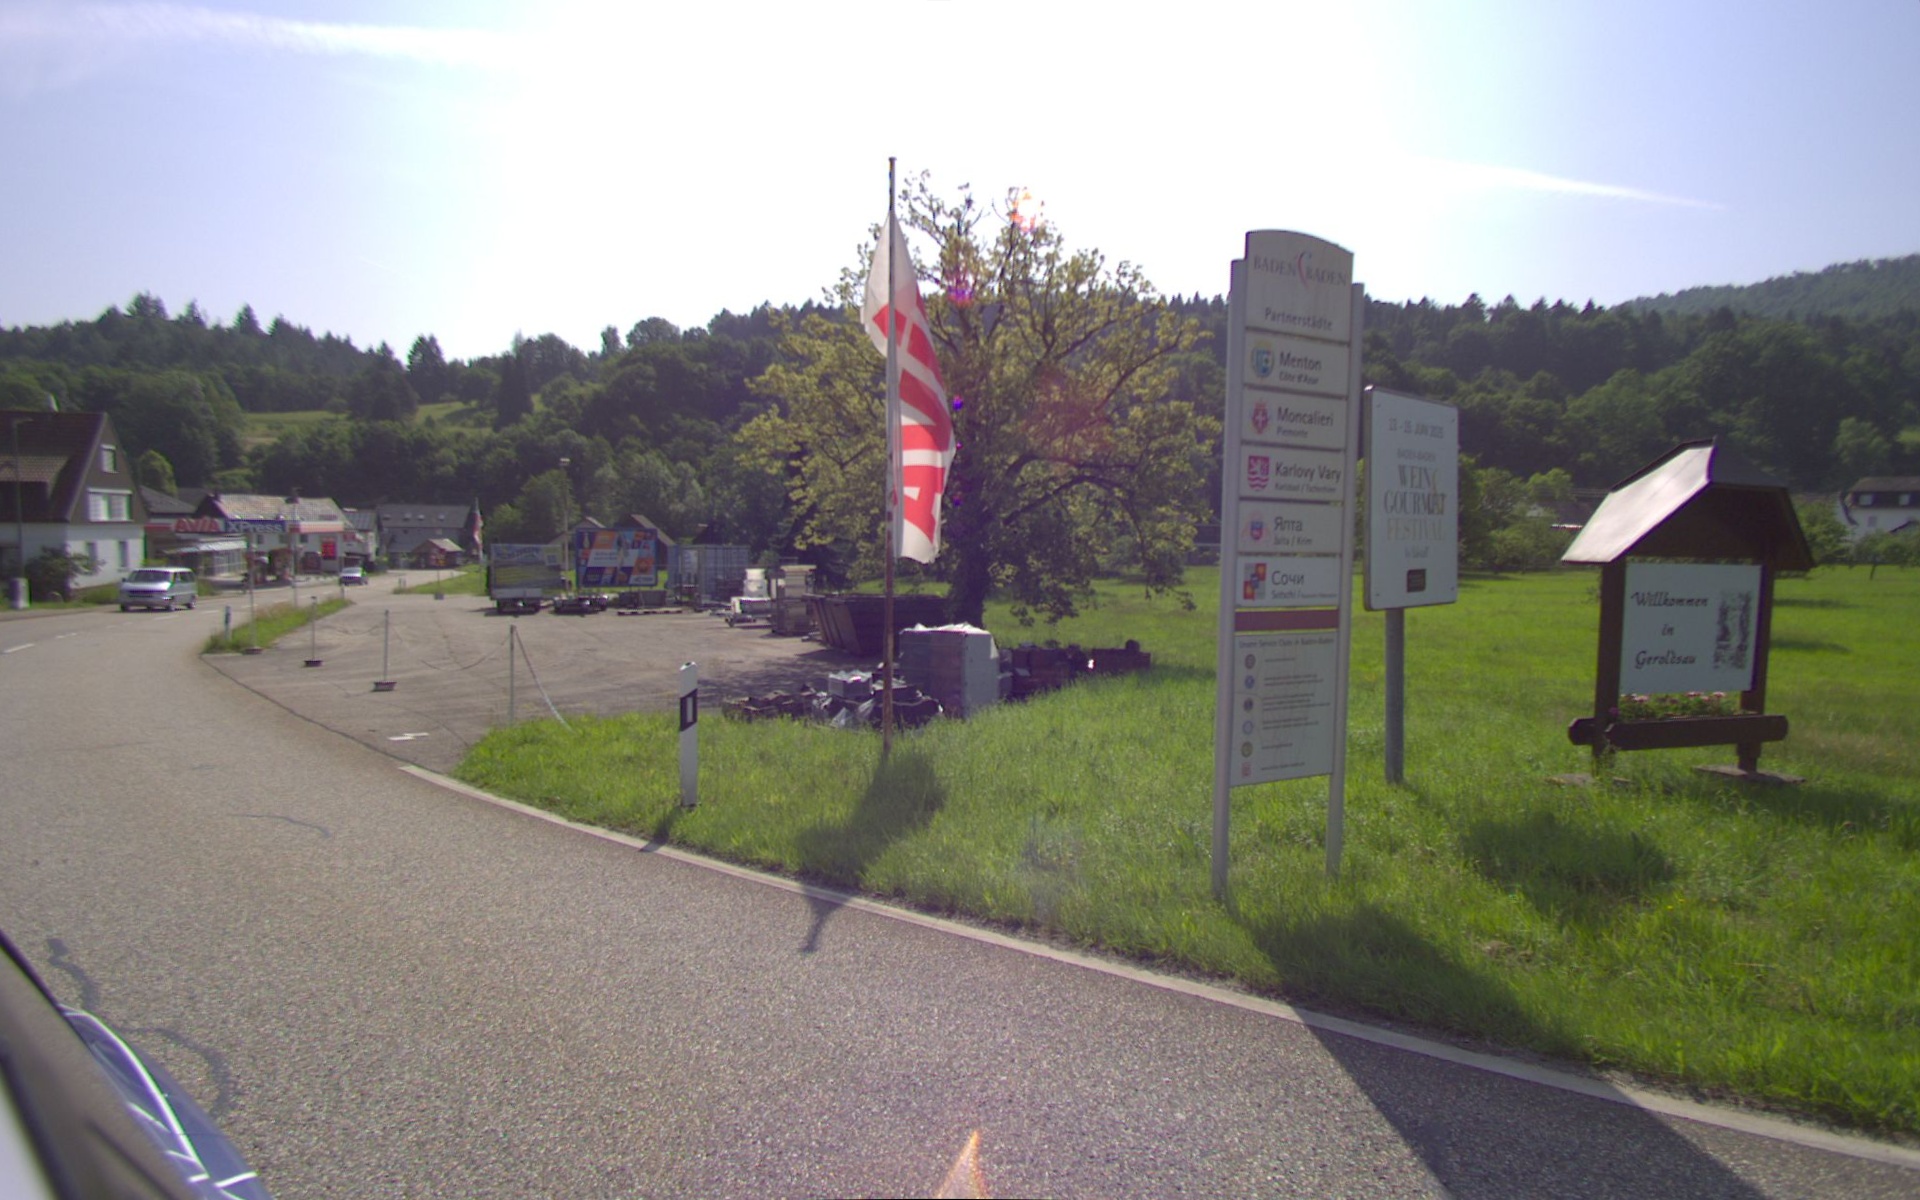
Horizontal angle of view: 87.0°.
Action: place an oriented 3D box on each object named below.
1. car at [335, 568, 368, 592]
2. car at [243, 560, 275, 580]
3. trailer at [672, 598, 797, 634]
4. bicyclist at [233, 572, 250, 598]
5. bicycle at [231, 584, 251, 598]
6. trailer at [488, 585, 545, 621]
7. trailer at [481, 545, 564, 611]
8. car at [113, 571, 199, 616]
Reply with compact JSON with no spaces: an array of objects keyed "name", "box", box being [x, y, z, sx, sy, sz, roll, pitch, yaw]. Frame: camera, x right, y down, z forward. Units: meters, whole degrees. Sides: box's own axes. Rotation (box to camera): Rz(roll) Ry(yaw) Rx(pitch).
[{"name":"car","box":[-50.472,-1.673,83.985,1.738,1.758,3.994,-2,4,-23]},{"name":"car","box":[-70.151,-3.010,101.330,1.656,1.829,4.014,-3,4,-22]},{"name":"trailer","box":[-7.741,0.514,34.674,3.877,0.946,1.874,-2,4,-24]},{"name":"bicyclist","box":[-47.375,-0.988,66.721,0.678,1.645,1.144,-4,2,-26]},{"name":"bicycle","box":[-47.305,-0.595,66.594,0.678,0.924,1.956,-4,2,-24]},{"name":"trailer","box":[-18.824,0.071,42.836,1.965,1.235,5.565,-2,3,-26]},{"name":"trailer","box":[-20.484,-1.048,47.381,3.344,2.933,1.890,-3,3,-28]},{"name":"car","box":[-36.005,-0.356,45.457,1.864,1.871,4.719,-1,2,-23]}]
